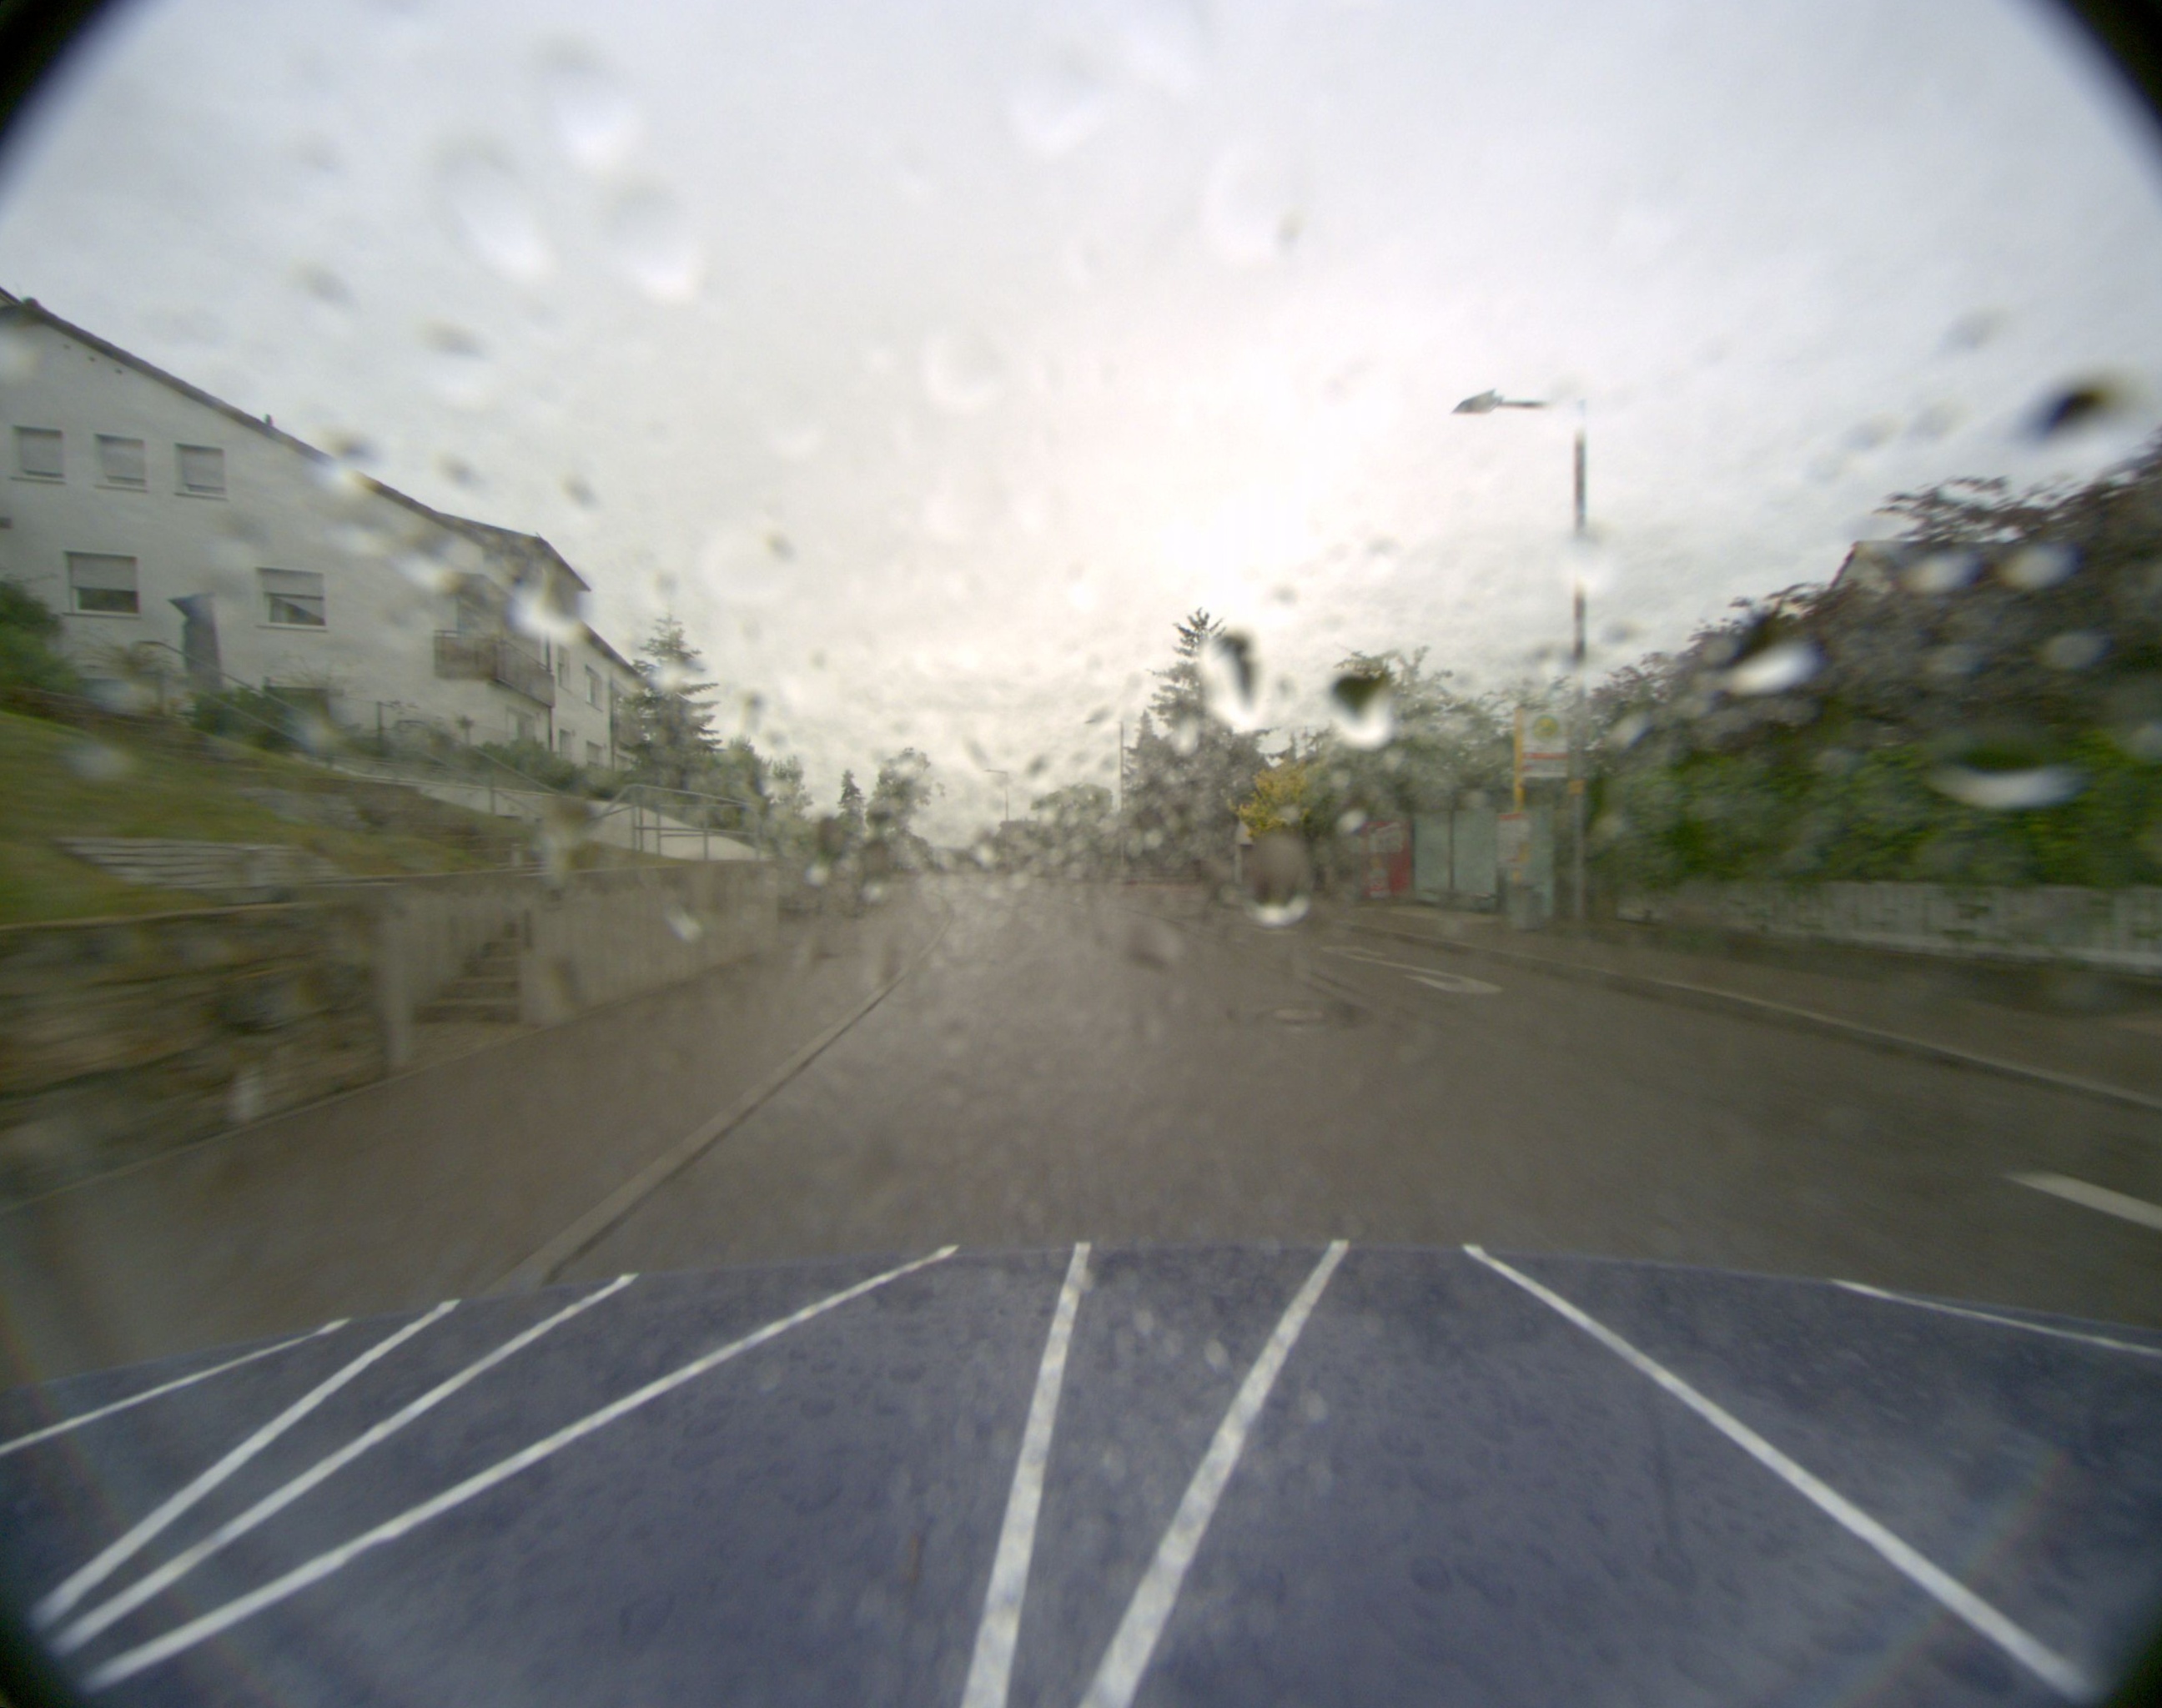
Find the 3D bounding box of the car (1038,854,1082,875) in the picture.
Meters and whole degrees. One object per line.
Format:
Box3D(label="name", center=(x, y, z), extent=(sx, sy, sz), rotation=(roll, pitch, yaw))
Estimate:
Box3D(label="car", center=(-1.567, 0.795, 56.475), extent=(3.036, 1.471, 1.455), rotation=(-1, 0, 8))
